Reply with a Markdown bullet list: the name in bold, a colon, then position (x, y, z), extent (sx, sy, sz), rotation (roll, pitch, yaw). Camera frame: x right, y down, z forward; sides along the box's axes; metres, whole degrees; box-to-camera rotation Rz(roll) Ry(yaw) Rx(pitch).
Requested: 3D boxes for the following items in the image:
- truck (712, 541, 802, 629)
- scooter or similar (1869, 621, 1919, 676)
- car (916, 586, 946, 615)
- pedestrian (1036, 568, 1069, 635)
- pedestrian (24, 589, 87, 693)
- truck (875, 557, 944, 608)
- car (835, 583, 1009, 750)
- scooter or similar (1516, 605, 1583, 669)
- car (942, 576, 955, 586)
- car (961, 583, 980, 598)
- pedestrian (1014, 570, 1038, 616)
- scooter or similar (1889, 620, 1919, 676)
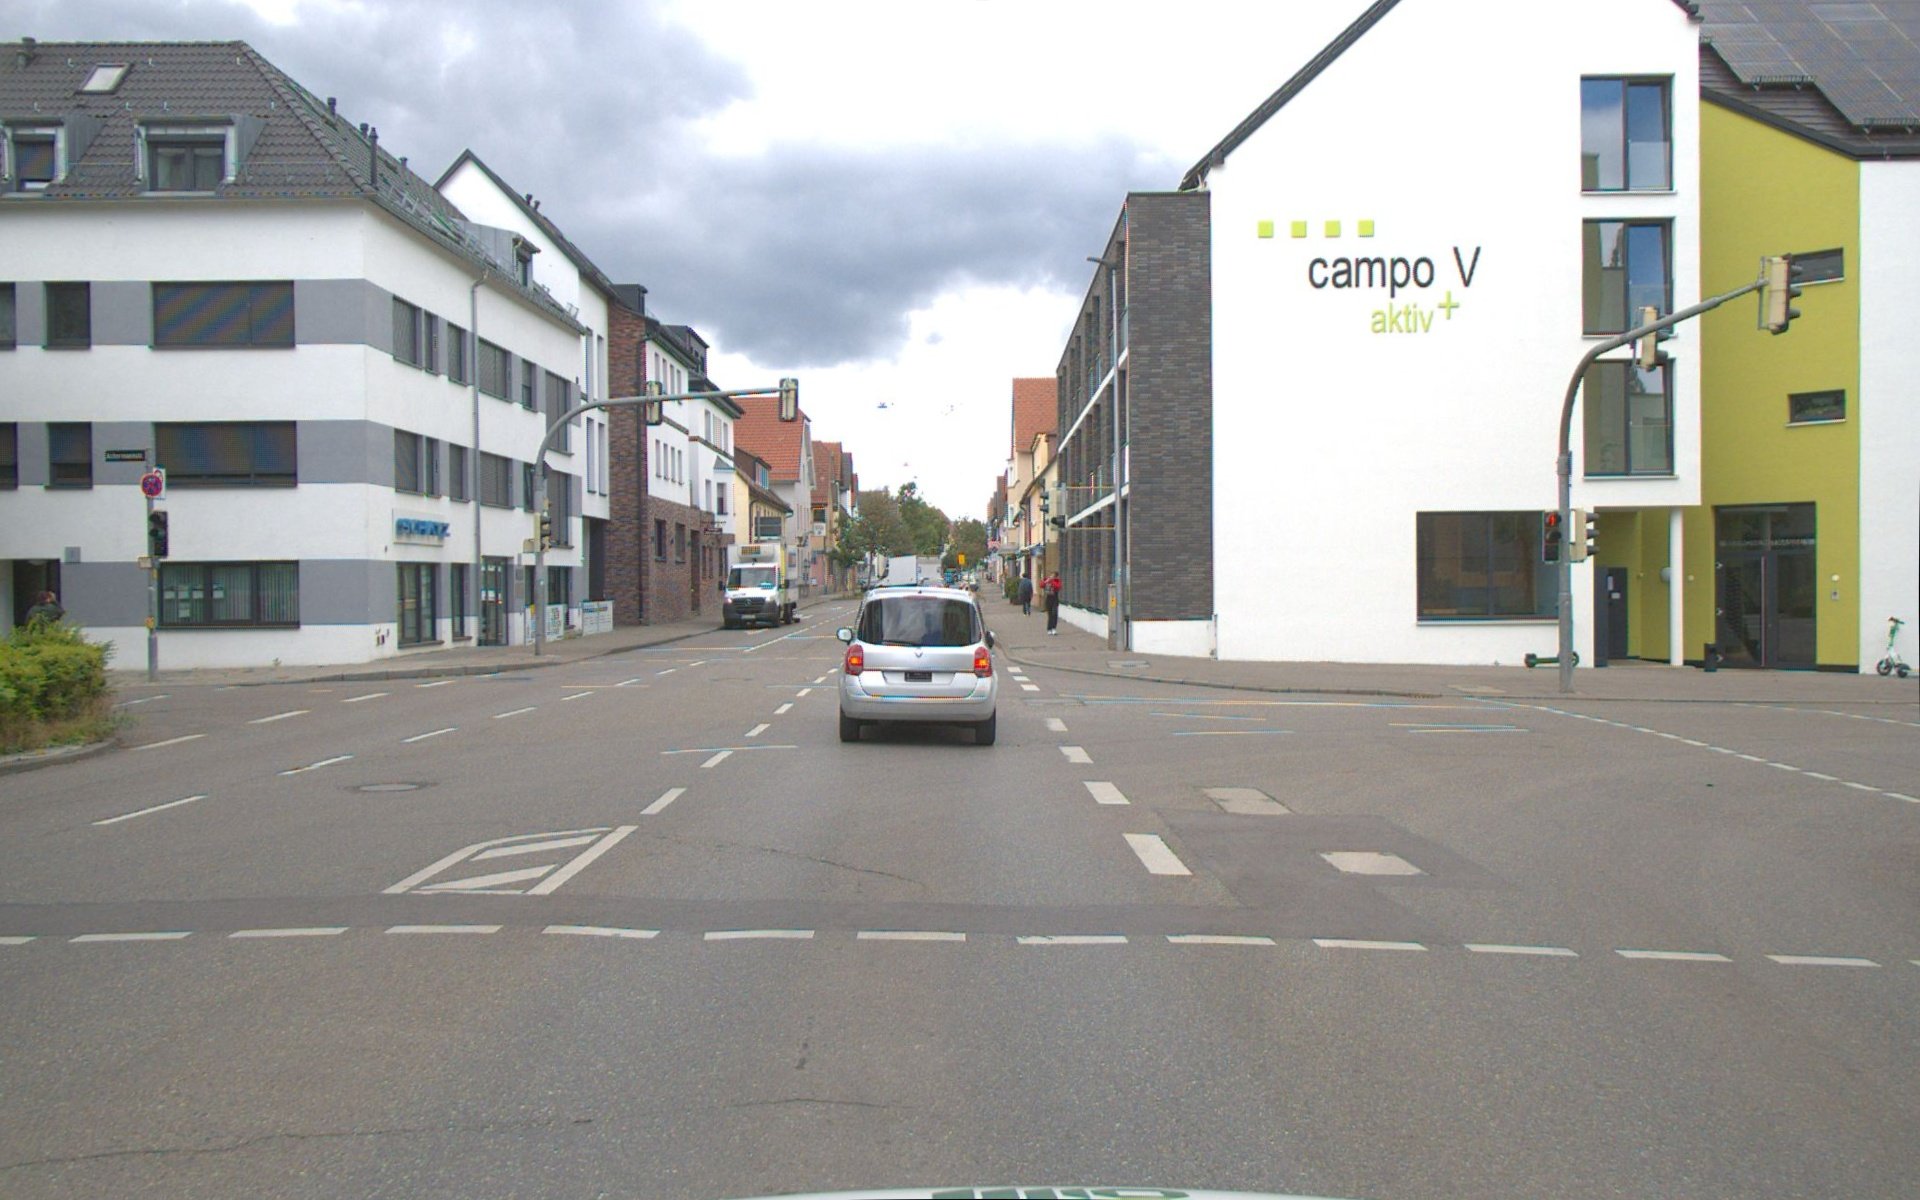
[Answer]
- **truck**: position (-7.367, -0.558, 61.060), extent (2.385, 3.005, 8.363), rotation (0, 1, -1)
- **scooter or similar**: position (19.436, 0.996, 34.034), extent (1.202, 1.098, 0.364), rotation (1, 0, 6)
- **car**: position (-1.648, -0.003, 95.385), extent (1.672, 1.606, 3.999), rotation (2, 1, -1)
- **pedestrian**: position (2.567, 0.029, 46.102), extent (0.791, 1.818, 0.861), rotation (-3, 1, 0)
- **pedestrian**: position (-15.594, 0.695, 28.514), extent (0.873, 1.698, 0.805), rotation (-2, 3, -33)
- **truck**: position (-4.100, -1.416, 131.531), extent (2.569, 3.925, 6.777), rotation (0, 0, -31)
- **car**: position (-0.403, 0.643, 18.385), extent (1.672, 1.606, 3.999), rotation (2, 1, -1)
- **scooter or similar**: position (12.174, 0.761, 34.183), extent (1.205, 1.256, 0.406), rotation (2, 0, 0)
- **car**: position (-1.609, -2.640, 227.683), extent (1.775, 1.378, 4.000), rotation (-1, 1, 0)
- **car**: position (0.993, -0.912, 160.449), extent (1.775, 1.378, 4.000), rotation (-1, 1, 0)
- **pedestrian**: position (2.681, -0.292, 67.259), extent (0.871, 1.818, 0.785), rotation (-3, 1, 0)
- **scooter or similar**: position (19.340, 0.968, 33.250), extent (1.207, 1.098, 0.363), rotation (1, 0, -12)
